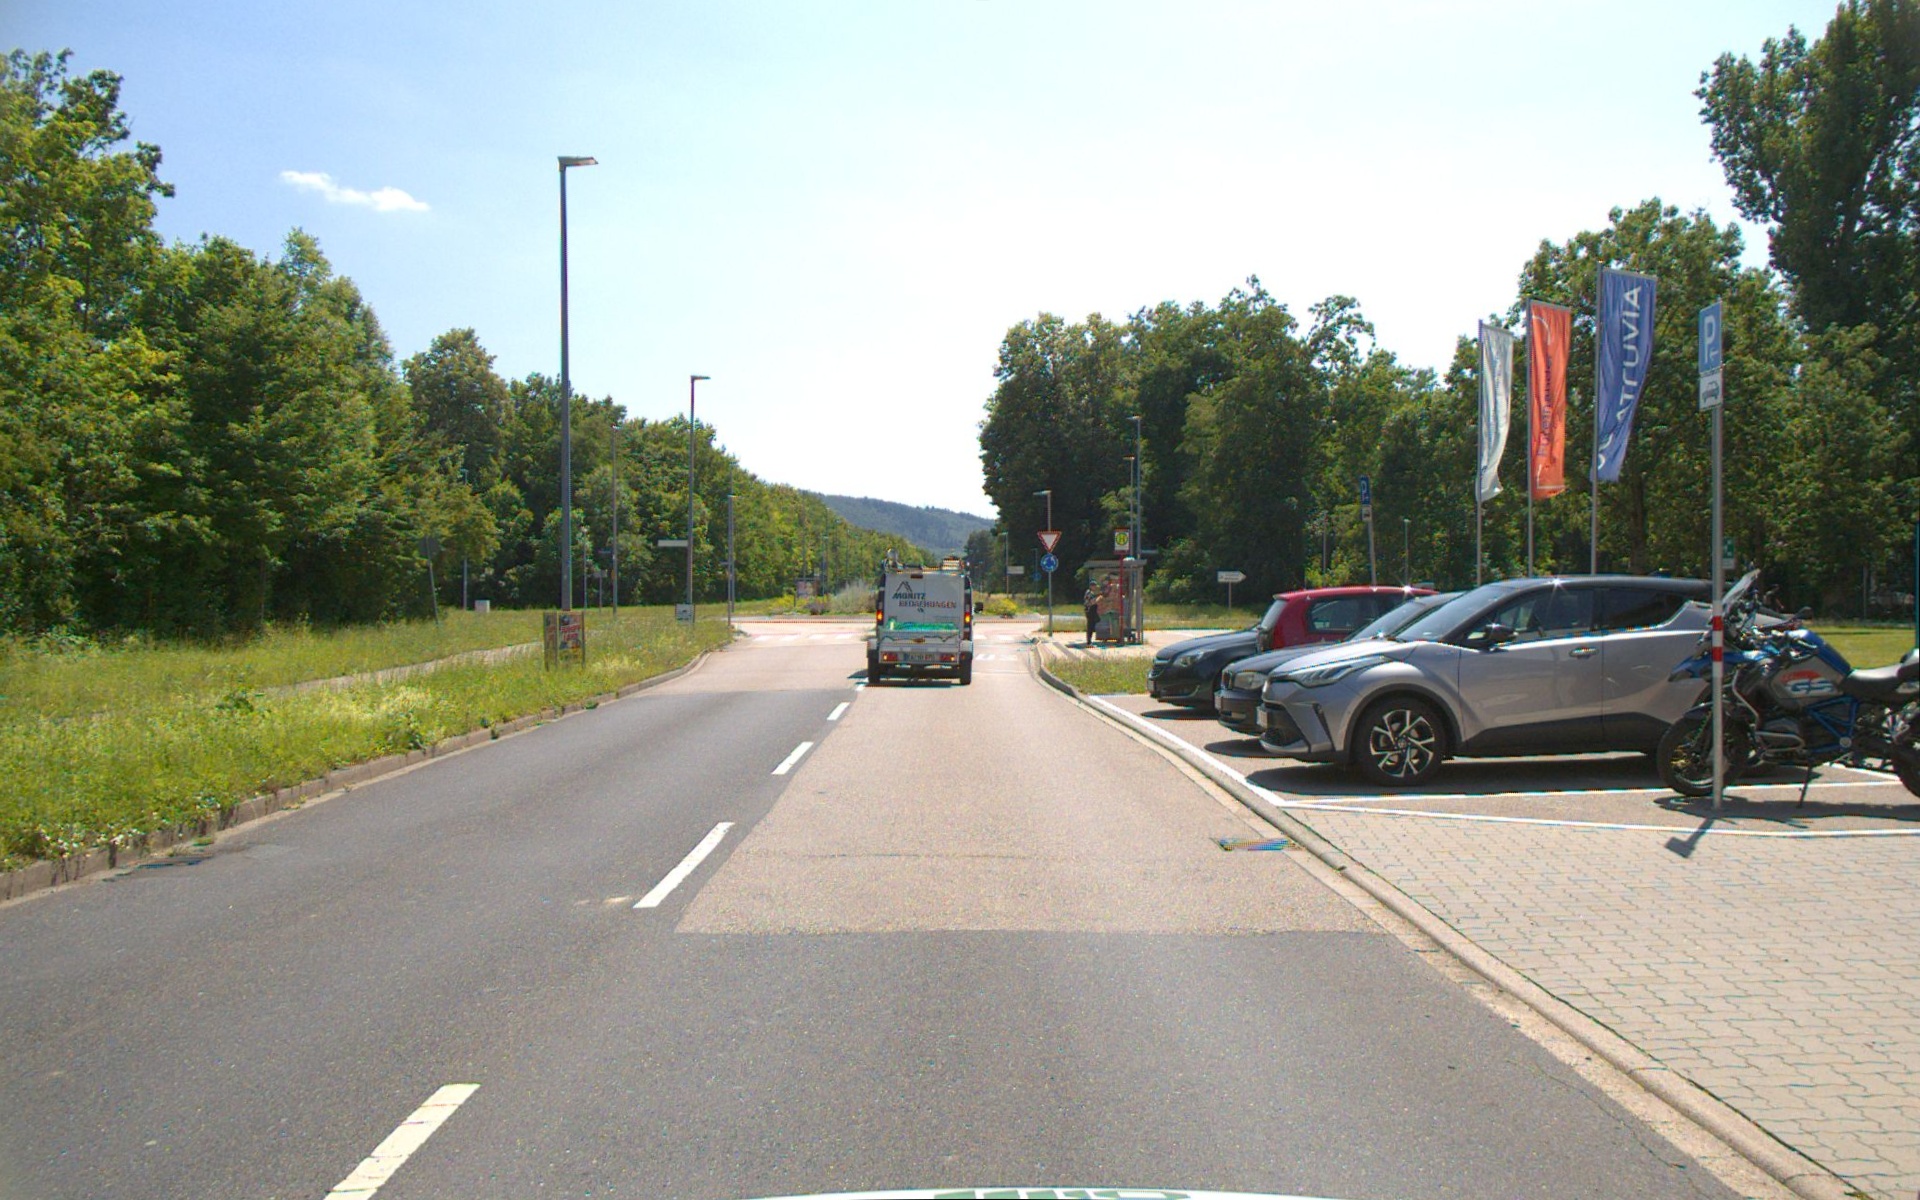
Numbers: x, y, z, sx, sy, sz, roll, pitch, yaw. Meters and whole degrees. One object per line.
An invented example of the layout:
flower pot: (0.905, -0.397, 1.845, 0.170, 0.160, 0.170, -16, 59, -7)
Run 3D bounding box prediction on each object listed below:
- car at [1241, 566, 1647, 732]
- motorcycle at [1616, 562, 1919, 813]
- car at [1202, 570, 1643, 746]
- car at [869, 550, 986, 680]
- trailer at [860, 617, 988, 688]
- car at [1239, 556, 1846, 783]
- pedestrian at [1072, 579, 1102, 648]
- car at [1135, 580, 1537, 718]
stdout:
car: (5.152, 0.515, 18.030, 3.904, 1.684, 1.840, -1, 0, 2)
motorcycle: (5.679, 0.537, 10.893, 2.390, 1.524, 1.224, -2, 1, 27)
car: (4.277, 0.532, 15.727, 3.728, 1.512, 1.656, -1, 0, 2)
car: (-0.628, 0.284, 33.074, 2.122, 2.357, 4.980, 1, 0, -1)
trailer: (-0.614, 0.884, 28.877, 2.078, 1.116, 3.354, 1, 0, -1)
car: (4.516, 0.525, 13.307, 4.231, 1.591, 1.786, -2, 0, 1)
pedestrian: (3.496, 0.377, 45.493, 0.693, 1.854, 0.826, -2, -1, 0)
car: (4.518, 0.577, 20.315, 4.475, 1.457, 1.827, -2, 0, -1)
